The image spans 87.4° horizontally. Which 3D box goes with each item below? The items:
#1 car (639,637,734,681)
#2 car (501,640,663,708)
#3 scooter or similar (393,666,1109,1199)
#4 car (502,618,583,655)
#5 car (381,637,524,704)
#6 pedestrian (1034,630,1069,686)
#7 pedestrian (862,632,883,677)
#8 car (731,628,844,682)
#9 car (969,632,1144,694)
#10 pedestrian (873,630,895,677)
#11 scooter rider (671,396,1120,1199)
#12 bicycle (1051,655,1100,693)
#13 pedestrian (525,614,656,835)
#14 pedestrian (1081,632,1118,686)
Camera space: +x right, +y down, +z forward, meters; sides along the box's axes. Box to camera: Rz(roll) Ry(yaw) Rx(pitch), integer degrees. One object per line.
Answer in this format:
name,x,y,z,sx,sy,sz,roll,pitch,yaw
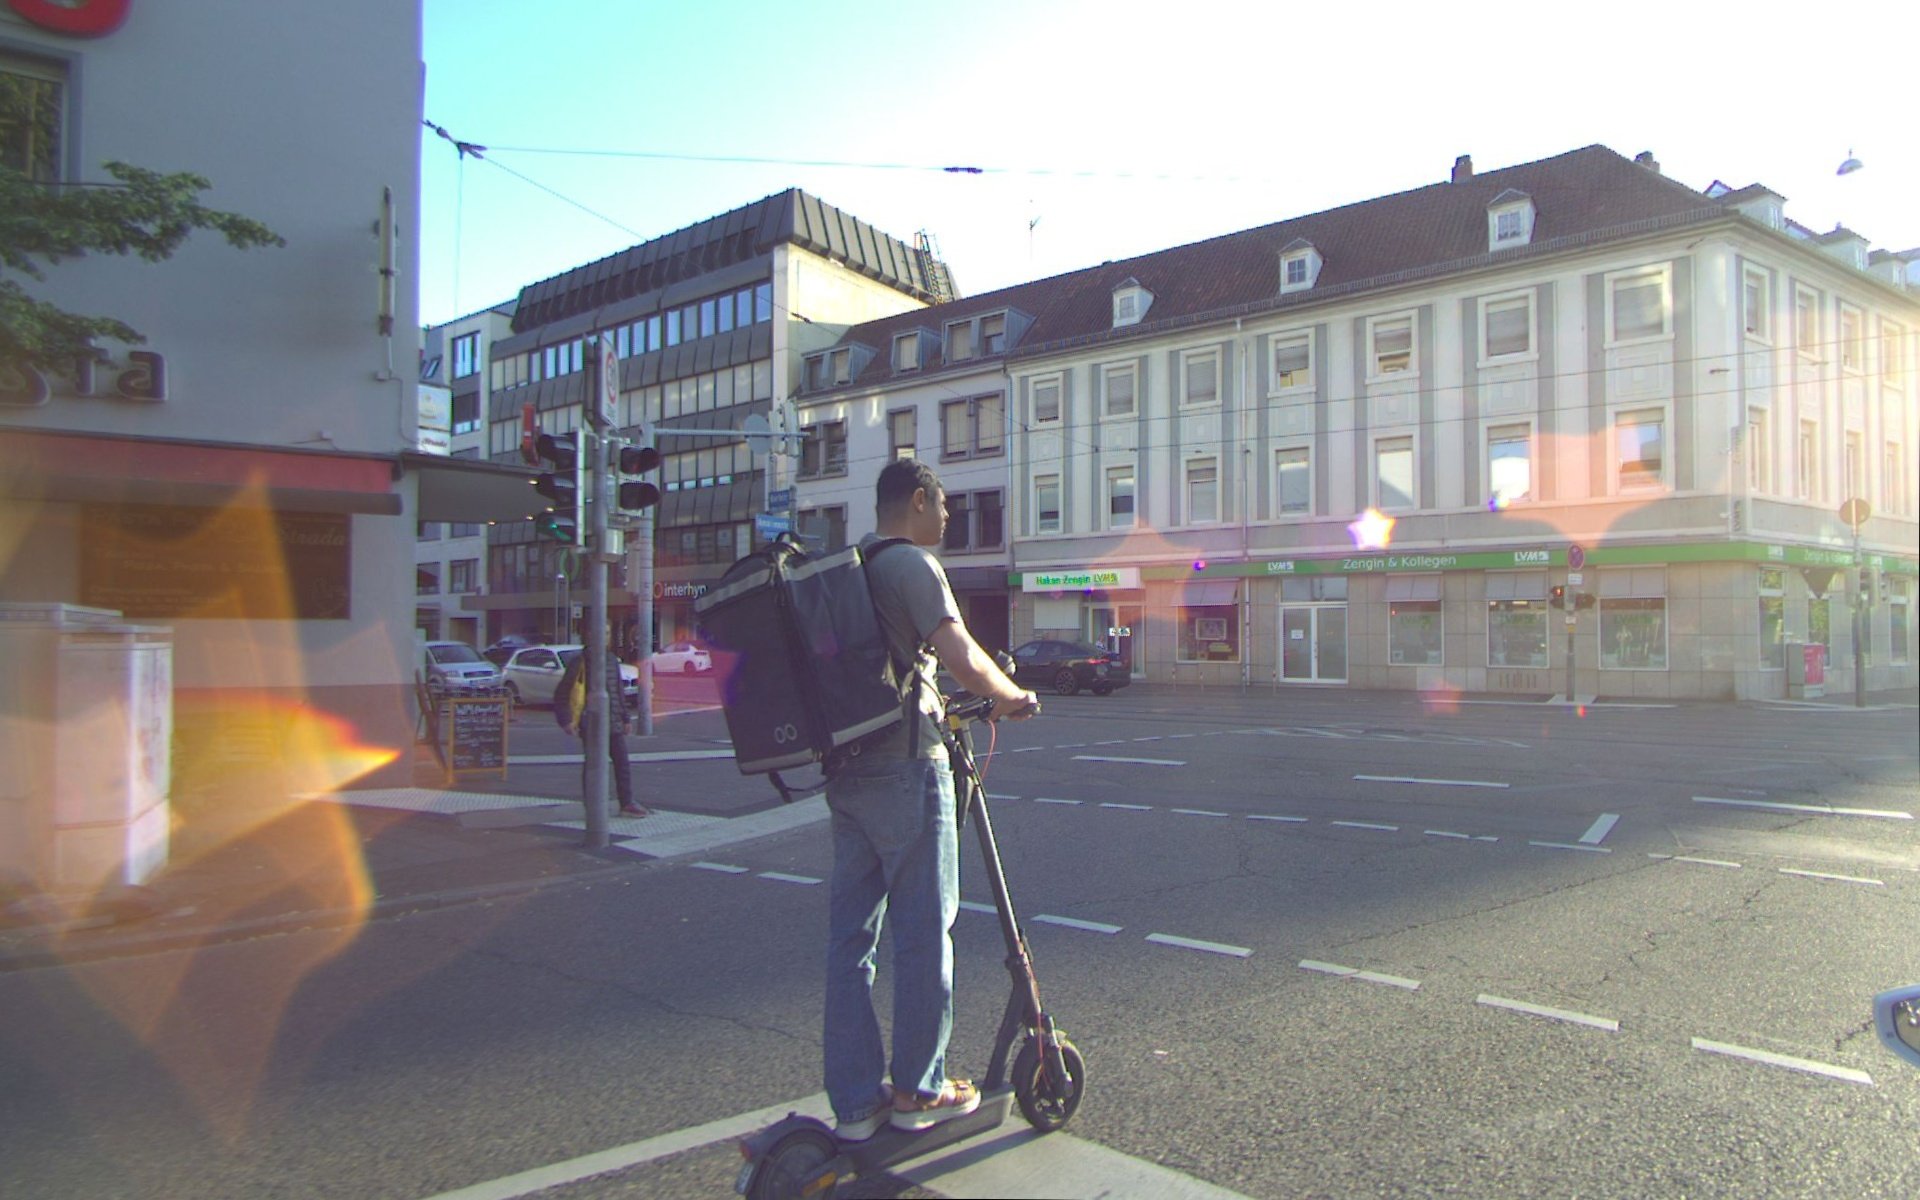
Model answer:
car,-11.234,2.380,41.189,3.935,1.645,1.697,-1,-1,36
car,-8.702,1.633,23.035,3.689,1.376,1.908,-2,-1,39
scooter or similar,-0.371,0.874,2.423,1.657,1.368,0.539,1,-1,-43
car,-20.043,1.719,48.165,3.935,1.578,1.814,1,-1,37
car,-13.637,1.820,26.915,3.939,1.499,1.991,1,-1,39
pedestrian,2.958,1.856,32.439,0.800,1.751,0.825,-1,0,36
pedestrian,-3.347,2.066,38.291,0.574,1.707,0.508,1,0,35
car,-6.487,1.992,37.606,4.062,1.820,1.910,0,0,36
car,2.482,1.596,26.722,4.481,1.499,1.885,-2,-2,44
pedestrian,-2.920,2.058,38.667,0.591,1.757,0.514,1,0,36
scooter rider,-0.173,0.513,2.578,0.782,1.831,0.804,2,0,-41
bicycle,3.467,2.194,30.042,0.492,1.073,1.732,-3,-3,44
pedestrian,-2.977,0.963,8.132,0.577,1.678,0.798,-1,-2,33
pedestrian,4.440,1.865,32.006,0.820,1.662,0.805,0,-1,-38
